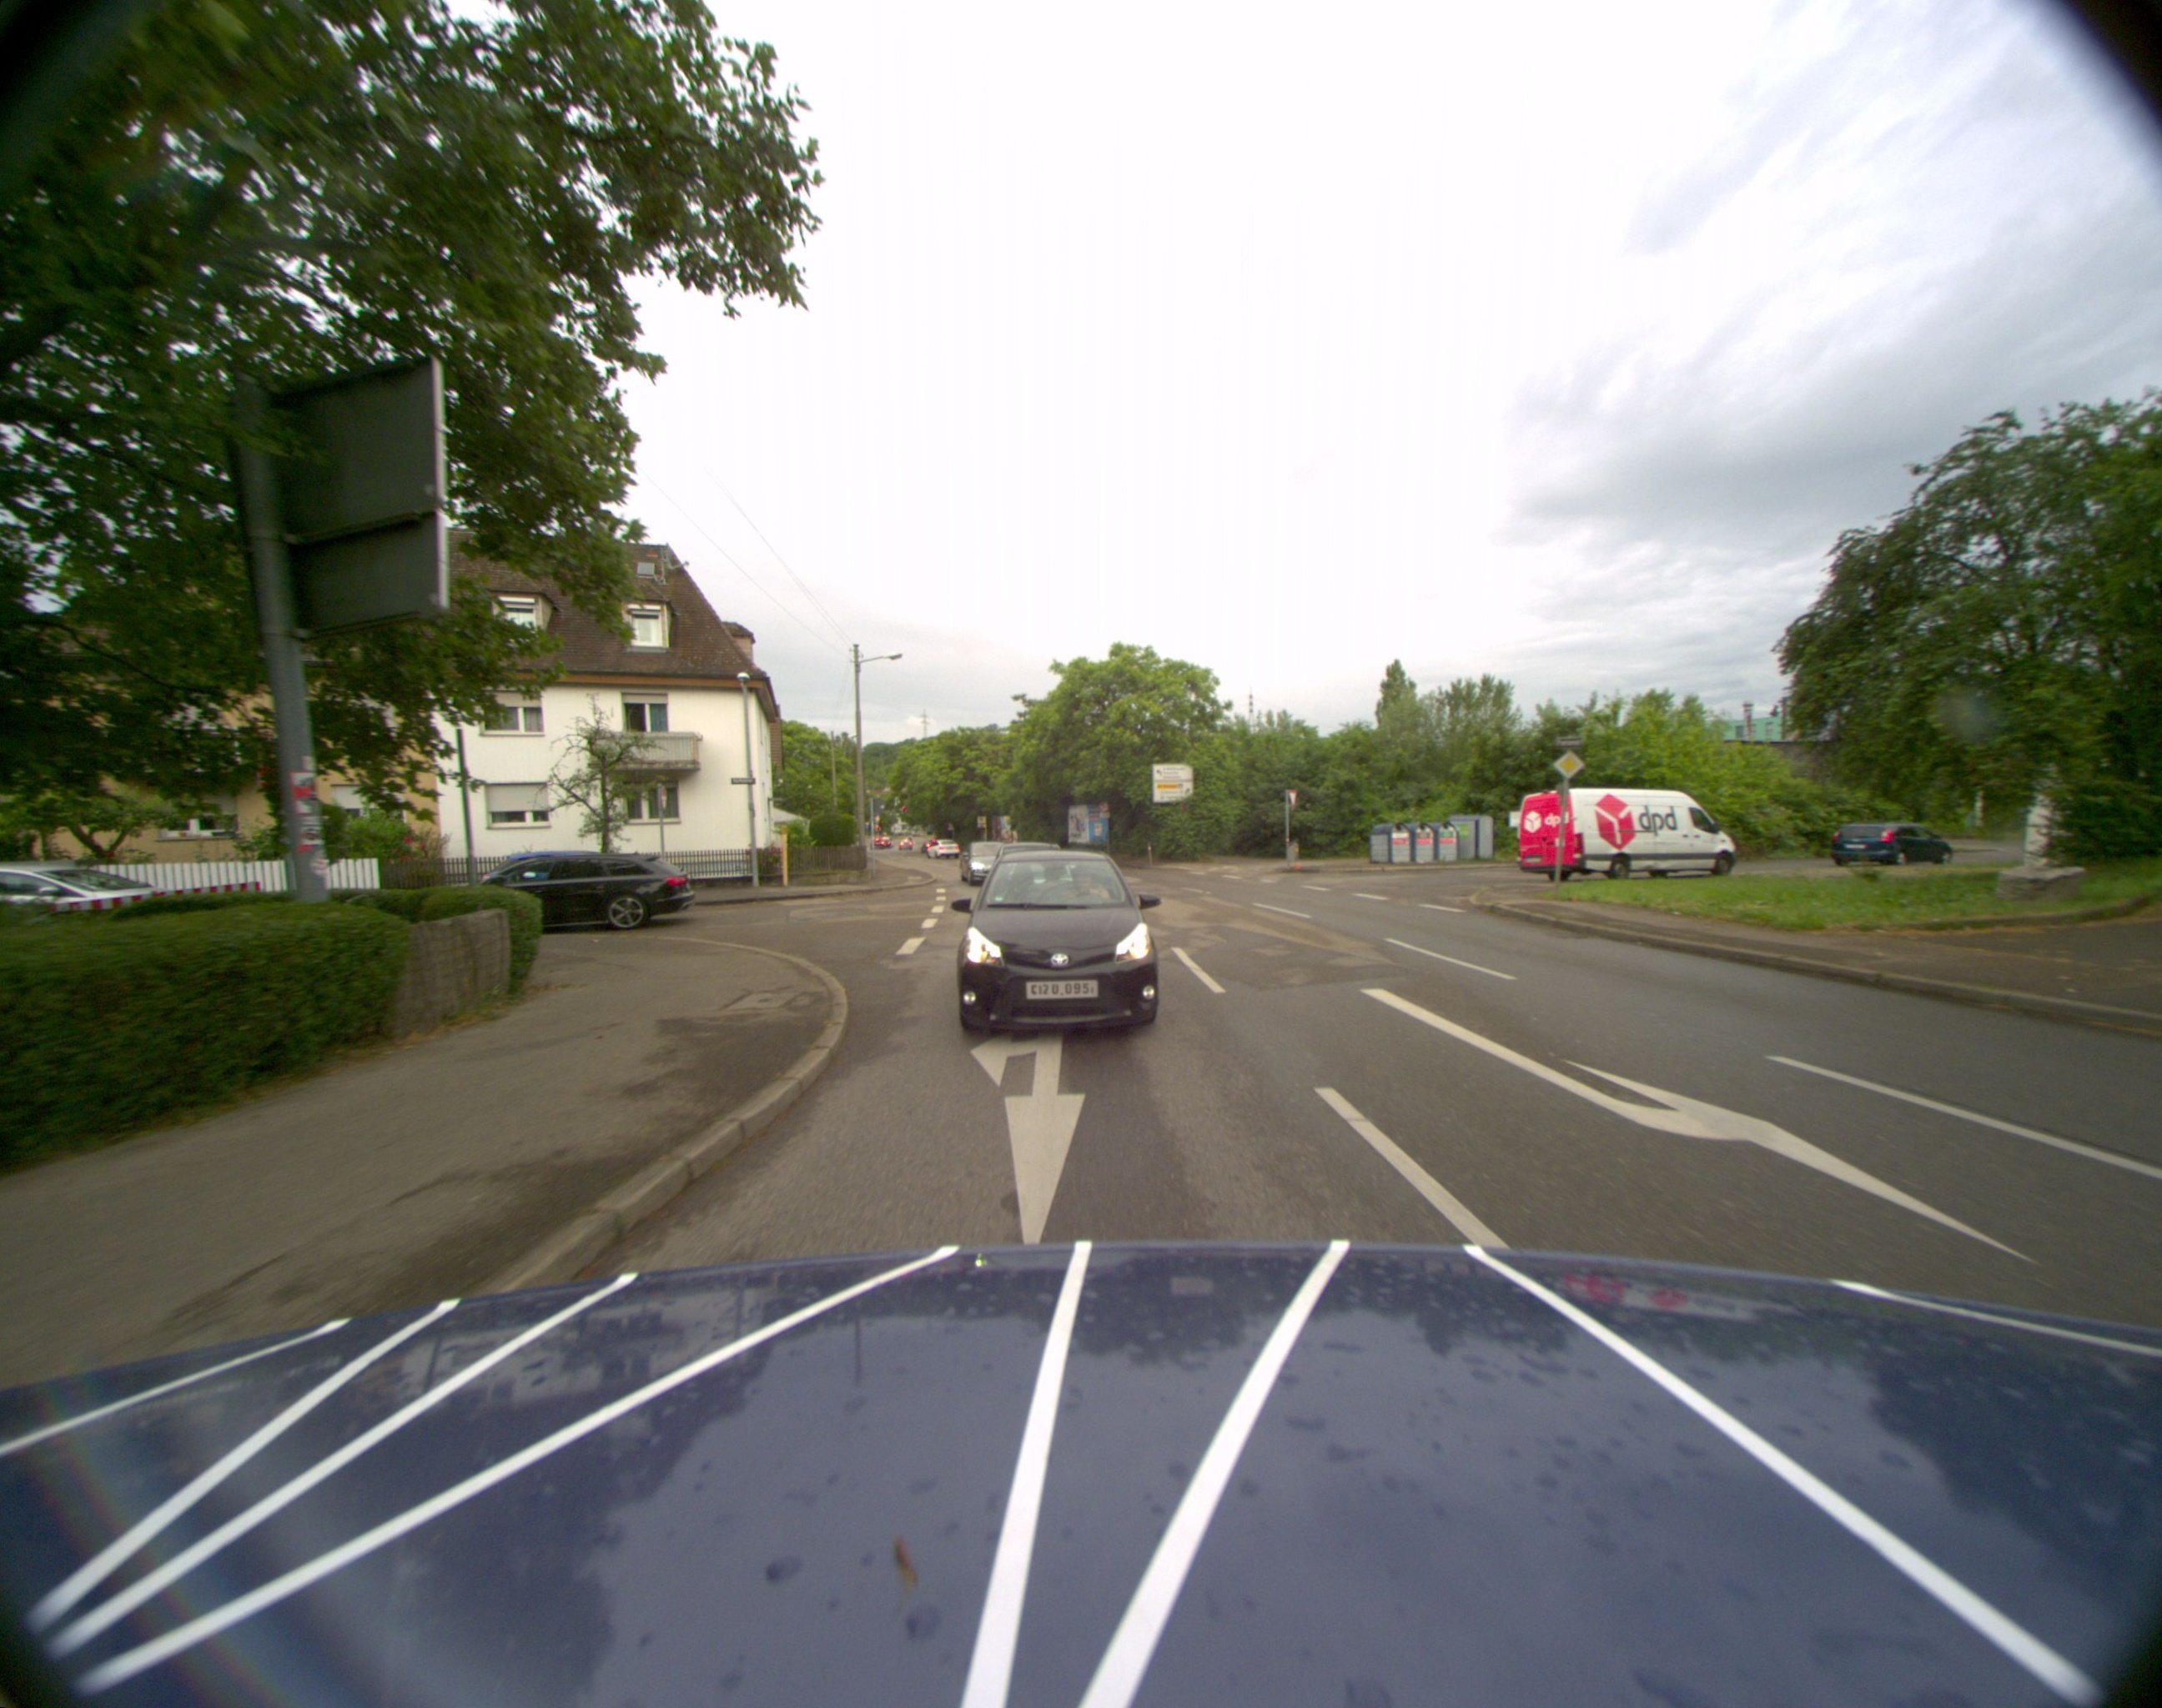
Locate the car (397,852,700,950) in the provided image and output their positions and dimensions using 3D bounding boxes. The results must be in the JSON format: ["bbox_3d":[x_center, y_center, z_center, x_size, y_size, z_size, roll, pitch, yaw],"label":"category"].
[{"bbox_3d":[-9.932,0.787,14.681,4.397,1.505,1.996,-2,2,-22],"label":"car"}]

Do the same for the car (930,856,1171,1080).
[{"bbox_3d":[-0.335,0.802,7.354,1.645,1.450,3.998,-2,1,-4],"label":"car"}]

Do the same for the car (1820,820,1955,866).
[{"bbox_3d":[29.923,-0.422,28.207,4.072,1.521,1.996,-2,2,-20],"label":"car"}]

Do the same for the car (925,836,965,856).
[{"bbox_3d":[-11.110,-0.642,61.644,1.844,1.549,5.561,-2,1,-24],"label":"car"}]

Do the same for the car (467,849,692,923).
[{"bbox_3d":[-11.265,0.654,17.453,4.004,1.456,1.857,-2,2,-23],"label":"car"}]

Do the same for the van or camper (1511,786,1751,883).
[{"bbox_3d":[15.942,-0.614,21.982,6.703,2.508,2.219,-2,2,-20],"label":"van or camper"}]

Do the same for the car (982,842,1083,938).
[{"bbox_3d":[-1.007,0.567,14.534,1.645,1.549,3.625,-2,1,-6],"label":"car"}]

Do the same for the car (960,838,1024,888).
[{"bbox_3d":[-3.195,0.256,26.693,1.709,1.549,3.994,-2,1,-13],"label":"car"}]

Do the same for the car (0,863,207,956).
[{"bbox_3d":[-19.820,1.035,13.995,4.396,1.505,1.996,-2,2,-19],"label":"car"}]
